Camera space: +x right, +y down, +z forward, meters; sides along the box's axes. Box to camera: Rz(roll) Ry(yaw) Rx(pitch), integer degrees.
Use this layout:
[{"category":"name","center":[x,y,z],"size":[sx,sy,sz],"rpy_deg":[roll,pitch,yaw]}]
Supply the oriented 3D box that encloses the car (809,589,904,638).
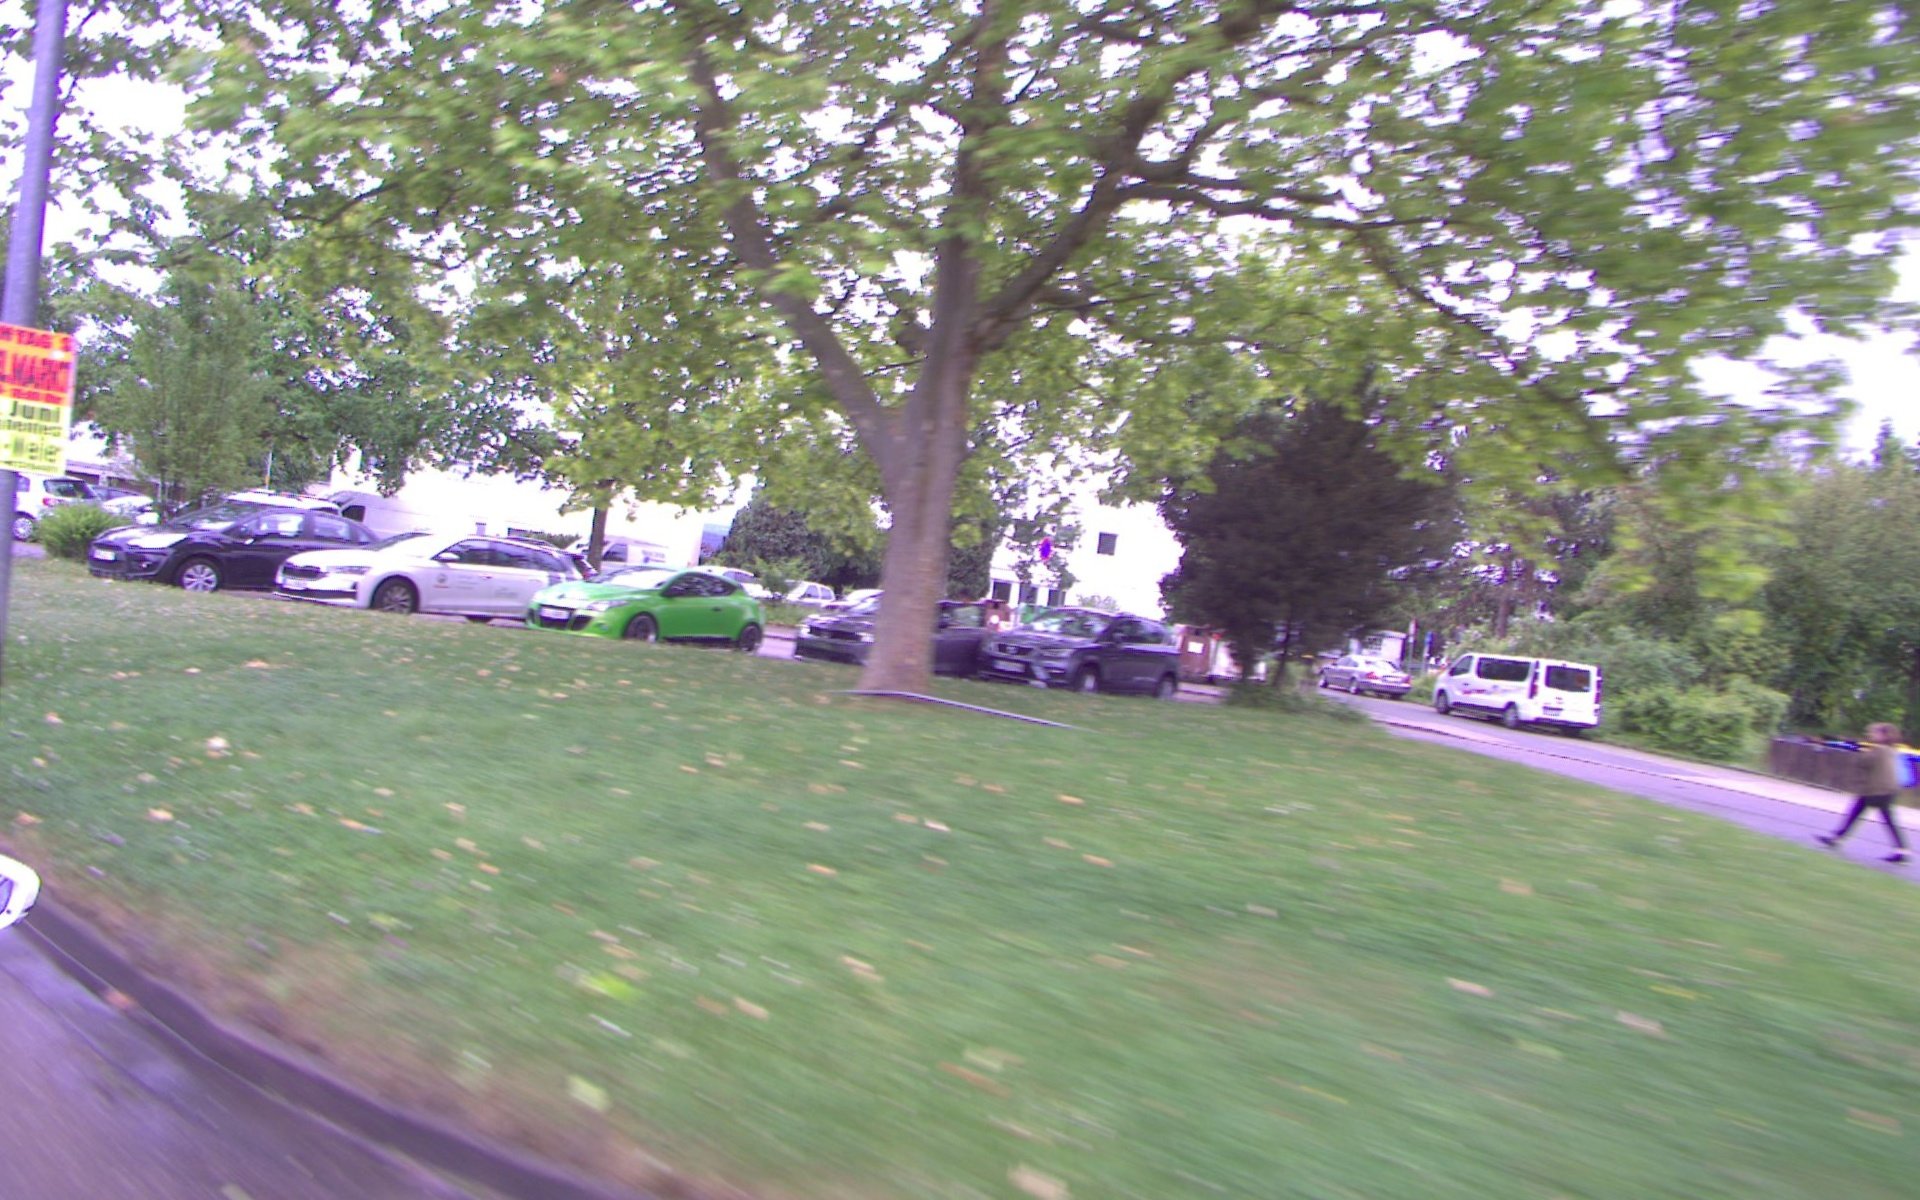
[{"category":"car","center":[-3.278,0.465,32.313],"size":[1.556,1.245,3.298],"rpy_deg":[7,-1,22]}]

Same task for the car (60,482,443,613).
[{"category":"car","center":[-10.815,-0.715,15.812],"size":[1.733,1.461,4.582],"rpy_deg":[7,0,26]}]

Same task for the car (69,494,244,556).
[{"category":"car","center":[-25.323,-2.312,31.893],"size":[1.701,1.353,4.045],"rpy_deg":[7,0,14]}]

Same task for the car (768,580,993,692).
[{"category":"car","center":[-1.124,0.598,16.282],"size":[1.733,1.388,4.018],"rpy_deg":[7,1,26]}]

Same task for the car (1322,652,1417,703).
[{"category":"car","center":[15.103,2.831,37.375],"size":[1.725,1.384,3.999],"rpy_deg":[7,0,0]}]

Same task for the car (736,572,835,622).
[{"category":"car","center":[-5.616,-0.057,32.747],"size":[1.556,1.245,3.298],"rpy_deg":[7,-1,22]}]

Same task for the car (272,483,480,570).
[{"category":"car","center":[-18.967,-2.317,33.084],"size":[1.963,2.039,5.837],"rpy_deg":[7,0,21]}]

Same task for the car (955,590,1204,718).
[{"category":"car","center":[2.058,0.912,16.264],"size":[1.739,1.647,4.273],"rpy_deg":[8,1,41]}]

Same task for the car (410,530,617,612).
[{"category":"car","center":[-10.754,-0.671,24.475],"size":[4.112,1.400,1.764],"rpy_deg":[7,0,-4]}]

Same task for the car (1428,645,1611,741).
[{"category":"car","center":[15.622,2.517,28.504],"size":[2.048,2.038,4.994],"rpy_deg":[7,0,-2]}]

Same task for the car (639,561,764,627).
[{"category":"car","center":[-8.425,-0.144,33.098],"size":[1.792,1.796,3.899],"rpy_deg":[7,1,24]}]

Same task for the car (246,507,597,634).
[{"category":"car","center":[-8.070,-0.345,15.621],"size":[1.733,1.461,4.582],"rpy_deg":[7,0,26]}]

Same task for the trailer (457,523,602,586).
[{"category":"trailer","center":[-13.935,-1.442,32.752],"size":[1.684,1.454,3.992],"rpy_deg":[7,0,32]}]

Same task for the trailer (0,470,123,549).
[{"category":"trailer","center":[-22.847,-2.298,23.720],"size":[4.346,1.562,1.998],"rpy_deg":[7,0,-3]}]

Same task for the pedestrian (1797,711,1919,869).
[{"category":"pedestrian","center":[10.463,2.167,11.564],"size":[0.729,1.602,0.944],"rpy_deg":[7,0,-26]}]

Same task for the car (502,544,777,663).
[{"category":"car","center":[-4.838,0.122,15.790],"size":[1.733,1.461,4.018],"rpy_deg":[7,1,26]}]

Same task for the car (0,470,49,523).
[{"category":"car","center":[-30.960,-3.439,31.130],"size":[1.727,1.504,3.657],"rpy_deg":[7,0,20]}]

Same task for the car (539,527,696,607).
[{"category":"car","center":[-11.055,-1.007,32.885],"size":[1.964,2.039,4.761],"rpy_deg":[7,1,24]}]

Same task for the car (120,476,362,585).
[{"category":"car","center":[-16.903,-1.596,23.821],"size":[4.134,1.904,2.000],"rpy_deg":[7,0,0]}]

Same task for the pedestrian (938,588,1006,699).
[{"category":"pedestrian","center":[0.196,0.692,16.001],"size":[0.578,1.672,0.738],"rpy_deg":[8,1,34]}]

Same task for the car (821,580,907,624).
[{"category":"car","center":[-4.388,0.122,46.329],"size":[1.674,1.549,3.634],"rpy_deg":[8,0,43]}]
